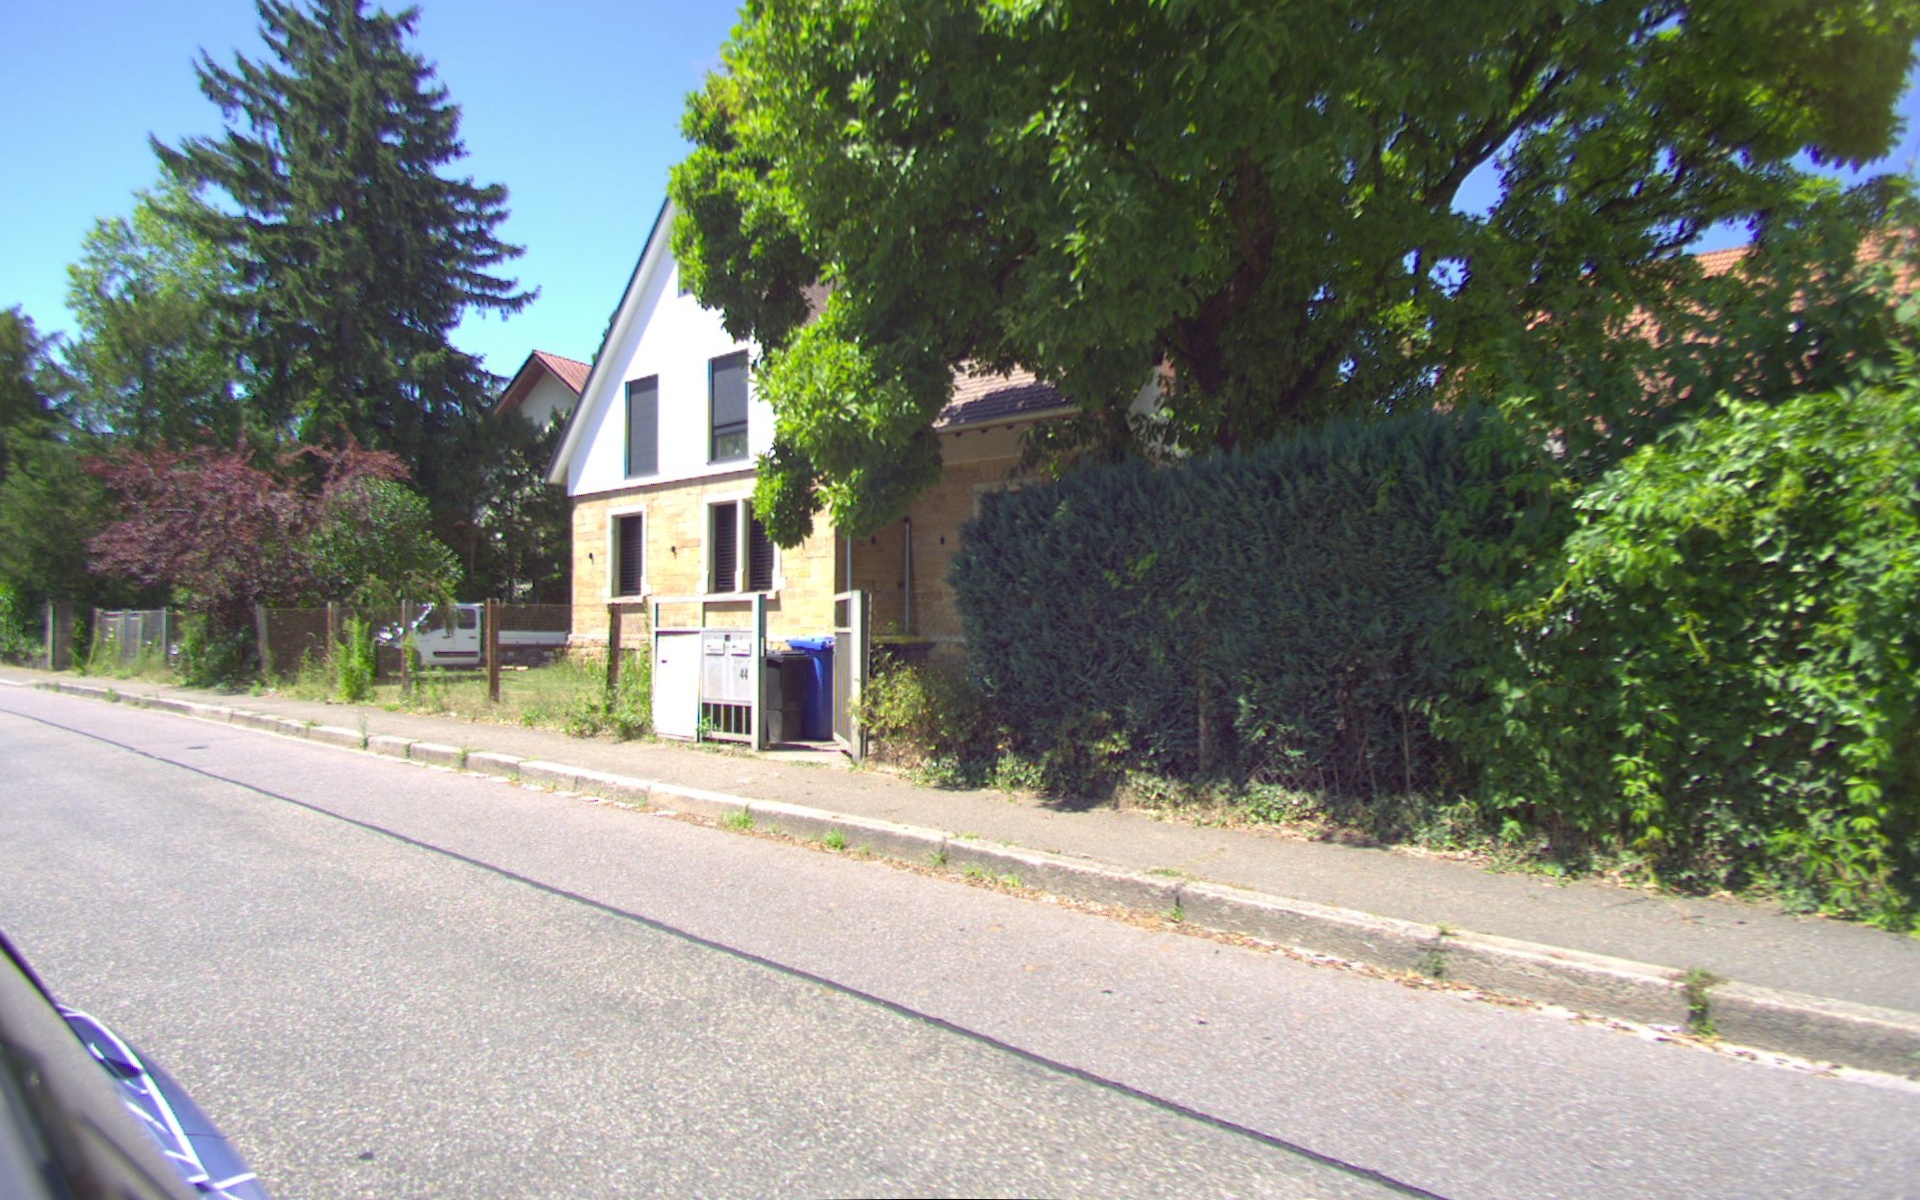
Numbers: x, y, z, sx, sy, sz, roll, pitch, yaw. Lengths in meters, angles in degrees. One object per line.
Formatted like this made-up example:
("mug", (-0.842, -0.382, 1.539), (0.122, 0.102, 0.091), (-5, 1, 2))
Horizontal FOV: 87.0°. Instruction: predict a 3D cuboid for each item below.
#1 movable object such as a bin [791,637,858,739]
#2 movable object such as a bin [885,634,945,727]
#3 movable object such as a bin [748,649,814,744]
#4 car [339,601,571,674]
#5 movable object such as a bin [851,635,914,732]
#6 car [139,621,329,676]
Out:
("movable object such as a bin", (-1.419, 0.901, 10.592), (0.505, 1.017, 0.462), (-2, -1, 38))
("movable object such as a bin", (-0.513, 0.900, 11.531), (0.505, 1.017, 0.462), (-2, -1, 38))
("movable object such as a bin", (-1.816, 0.961, 10.266), (0.458, 0.916, 0.462), (-2, -1, 38))
("car", (-16.598, 1.304, 33.765), (2.395, 2.188, 6.606), (-1, -4, 33))
("movable object such as a bin", (-0.846, 0.903, 11.124), (0.505, 1.017, 0.462), (-2, -1, 38))
("car", (-20.334, 1.384, 28.456), (1.967, 1.435, 3.945), (-2, -4, 41))
